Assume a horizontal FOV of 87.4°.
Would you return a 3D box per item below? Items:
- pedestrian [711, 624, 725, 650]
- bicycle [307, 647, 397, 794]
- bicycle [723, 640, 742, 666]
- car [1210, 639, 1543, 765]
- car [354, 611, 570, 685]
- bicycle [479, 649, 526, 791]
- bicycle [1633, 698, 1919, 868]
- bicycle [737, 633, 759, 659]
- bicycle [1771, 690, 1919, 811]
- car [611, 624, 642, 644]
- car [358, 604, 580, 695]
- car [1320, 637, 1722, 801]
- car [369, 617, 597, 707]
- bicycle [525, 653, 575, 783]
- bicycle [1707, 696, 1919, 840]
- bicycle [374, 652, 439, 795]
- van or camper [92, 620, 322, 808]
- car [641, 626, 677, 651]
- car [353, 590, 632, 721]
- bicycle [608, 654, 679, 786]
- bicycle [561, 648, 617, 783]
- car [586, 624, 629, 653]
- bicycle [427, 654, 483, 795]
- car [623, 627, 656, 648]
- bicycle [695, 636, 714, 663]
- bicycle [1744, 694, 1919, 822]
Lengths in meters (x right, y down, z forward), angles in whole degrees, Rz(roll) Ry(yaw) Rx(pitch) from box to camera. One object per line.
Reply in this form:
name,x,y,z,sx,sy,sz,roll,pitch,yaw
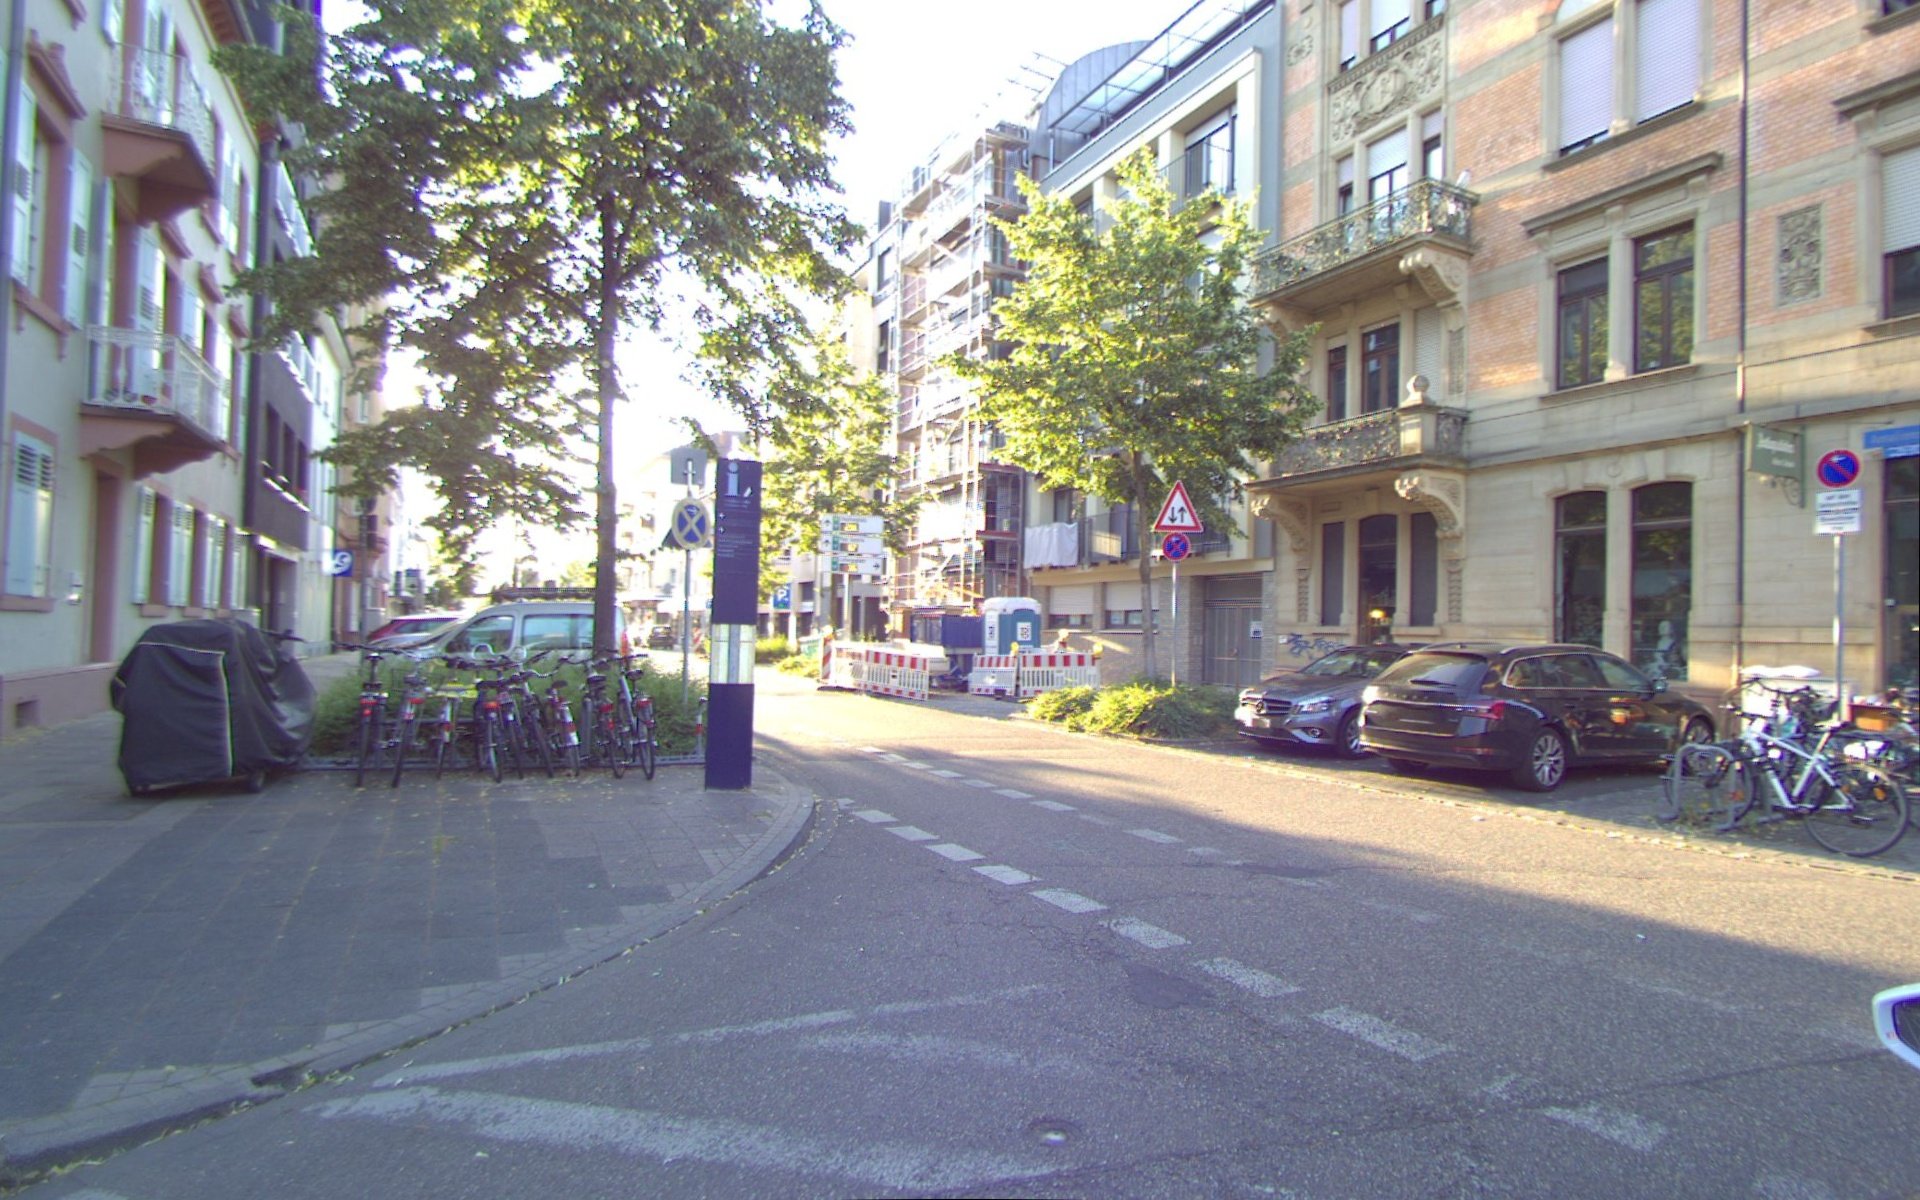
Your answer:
pedestrian,-15.470,2.385,64.218,0.803,1.668,0.602,1,-2,-27
bicycle,-5.138,0.974,8.549,0.391,1.096,1.587,4,-3,-24
bicycle,-10.366,2.401,45.718,0.378,1.114,1.511,3,-3,-30
car,5.806,1.300,13.921,4.483,1.498,1.855,1,-2,-28
car,-11.112,1.092,22.540,4.173,1.536,1.748,3,-2,-31
bicycle,-4.150,1.037,9.126,0.308,1.163,1.603,3,-3,-24
bicycle,6.491,1.386,8.043,0.563,1.060,1.821,2,-2,-24
bicycle,-9.437,2.029,44.694,0.379,1.114,1.509,2,-2,-33
bicycle,9.104,1.453,9.603,0.460,1.054,2.095,2,-2,-28
car,-25.933,2.631,77.992,1.687,1.455,3.906,3,-3,-26
car,-9.771,1.024,20.264,3.786,1.605,1.731,4,-3,-25
car,6.468,1.206,11.514,4.483,1.531,1.898,1,-2,-28
car,-8.651,1.132,18.517,3.609,1.535,1.640,2,-2,-22
bicycle,-3.926,1.083,9.571,0.315,1.096,1.587,4,-3,-24
bicycle,7.606,1.408,8.638,0.632,1.027,1.819,2,-2,-28
bicycle,-4.775,1.020,8.710,0.319,1.096,1.587,2,-3,-24
van or camper,-5.784,0.832,7.874,0.930,1.276,1.835,3,-3,-22
car,-19.561,2.469,65.232,1.618,1.574,2.674,2,-2,-29
car,-7.299,0.891,15.979,3.770,1.874,1.690,2,-2,-24
bicycle,-3.076,1.107,9.683,0.391,1.122,1.702,4,-3,-24
bicycle,-3.592,1.070,9.686,0.327,1.155,1.587,4,-3,-24
car,-22.779,2.468,64.793,1.976,1.676,4.642,5,-3,-26
bicycle,-4.441,1.041,8.875,0.337,1.096,1.587,2,-2,-24
car,-22.764,2.650,71.356,1.618,1.443,3.731,2,-2,-27
bicycle,-10.887,2.106,42.813,0.378,1.114,1.511,2,-2,-30
bicycle,8.513,1.437,9.149,0.632,1.027,2.095,2,-2,-28
